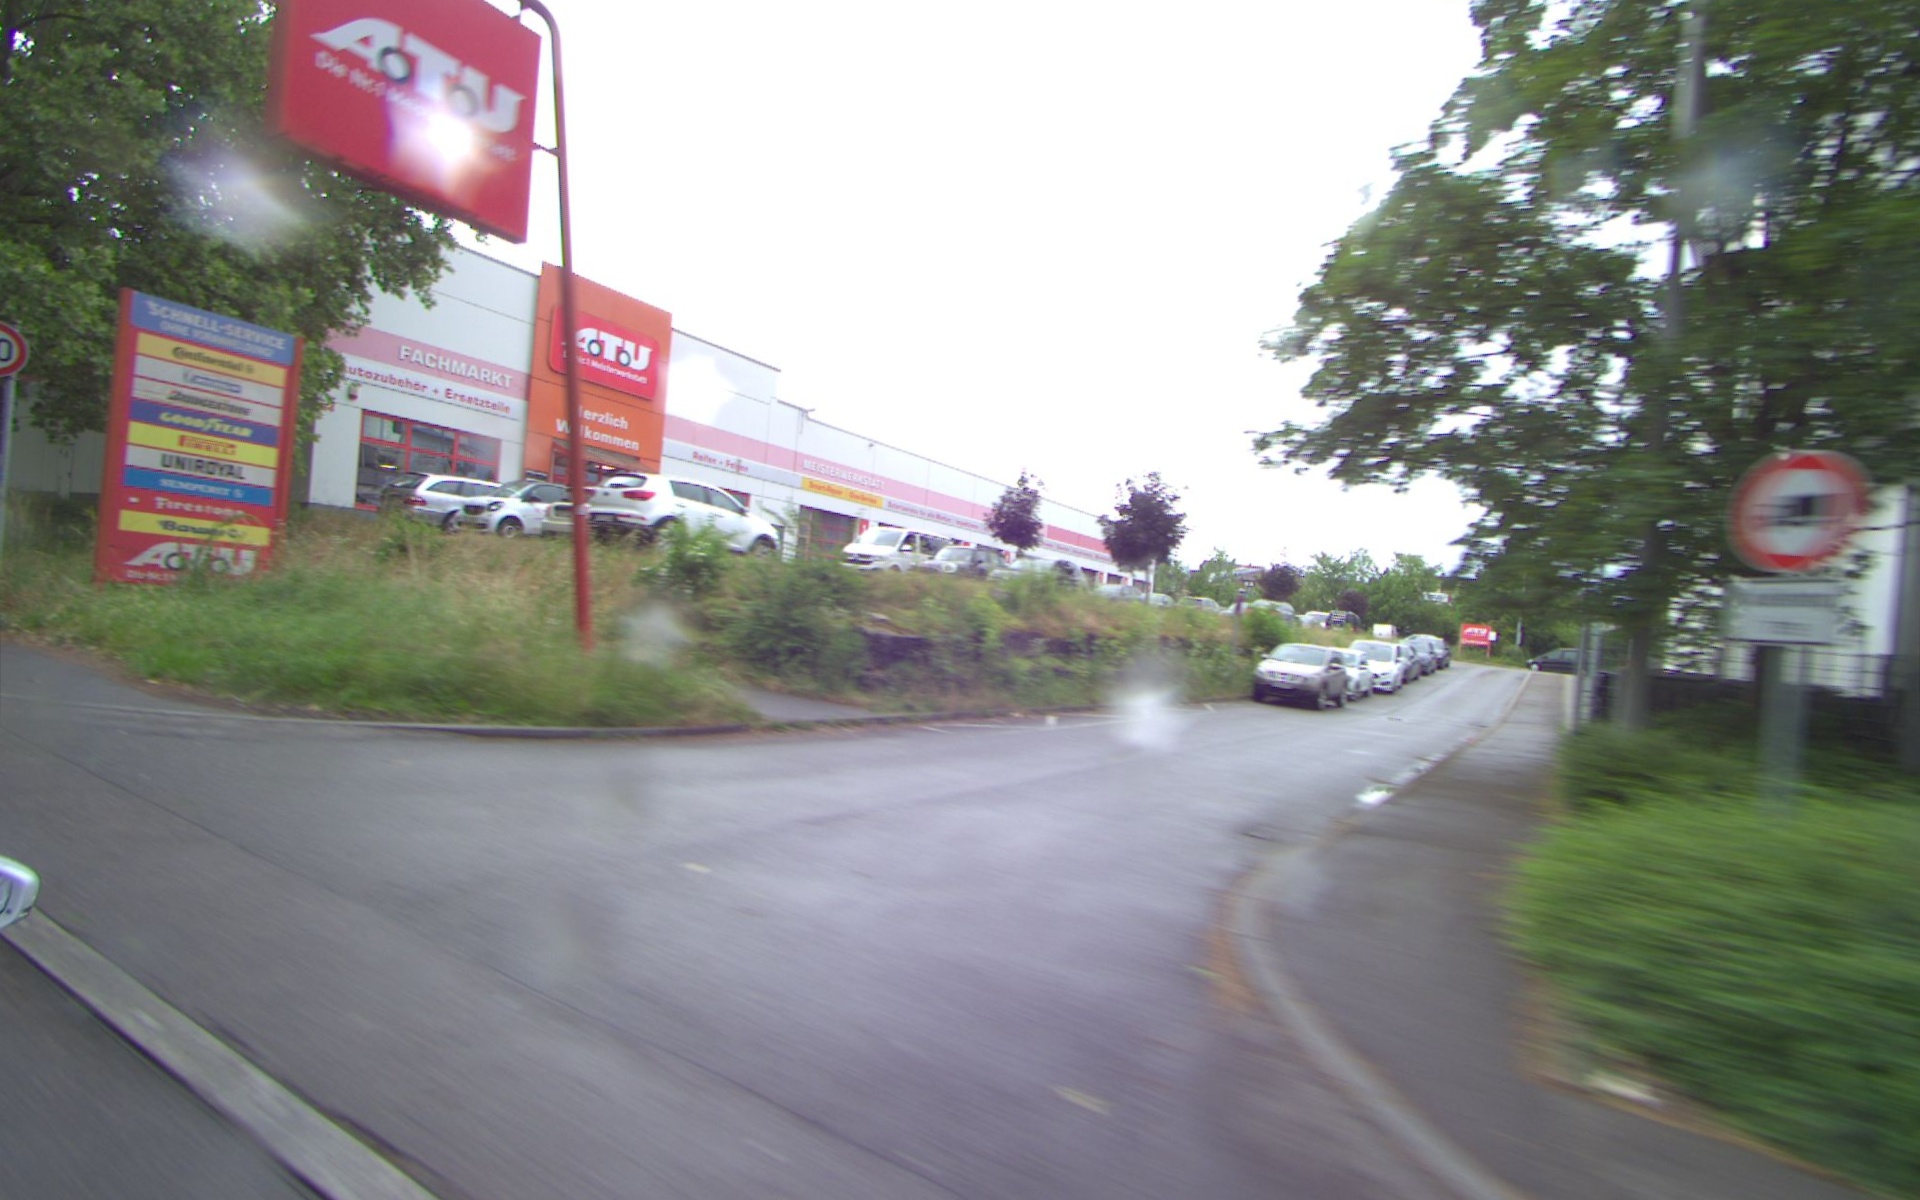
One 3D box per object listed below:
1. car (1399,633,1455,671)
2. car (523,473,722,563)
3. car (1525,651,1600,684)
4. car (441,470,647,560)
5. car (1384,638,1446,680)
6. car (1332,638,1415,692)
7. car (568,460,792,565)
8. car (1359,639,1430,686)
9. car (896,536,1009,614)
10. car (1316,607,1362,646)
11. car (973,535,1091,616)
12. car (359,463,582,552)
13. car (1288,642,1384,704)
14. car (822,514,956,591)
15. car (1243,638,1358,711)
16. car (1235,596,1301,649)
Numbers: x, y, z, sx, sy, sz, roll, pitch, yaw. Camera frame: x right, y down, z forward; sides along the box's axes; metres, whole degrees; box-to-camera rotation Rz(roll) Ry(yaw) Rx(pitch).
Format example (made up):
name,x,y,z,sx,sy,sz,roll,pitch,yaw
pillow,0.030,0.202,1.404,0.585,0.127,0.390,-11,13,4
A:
name,x,y,z,sx,sy,sz,roll,pitch,yaw
car,23.353,2.636,50.231,1.858,1.565,4.326,7,0,32
car,-7.516,-1.803,22.745,1.803,1.308,3.924,6,-2,33
car,41.408,4.664,69.197,4.241,1.682,1.995,7,0,33
car,-9.738,-1.958,23.846,1.854,1.485,4.104,7,0,33
car,20.500,2.670,45.233,1.858,1.565,4.326,7,0,32
car,14.653,2.311,35.527,1.858,1.565,4.326,7,0,32
car,-5.567,-1.719,20.490,1.872,1.392,4.106,6,-2,33
car,17.555,2.557,40.544,1.858,1.565,4.326,7,0,32
car,-0.146,-0.705,30.627,1.632,1.802,3.999,5,-3,28
car,22.000,1.566,58.292,1.882,1.802,3.999,5,-3,28
car,2.192,-0.672,29.563,1.882,1.802,3.999,5,-3,28
car,-11.850,-2.202,24.675,1.771,1.350,4.617,7,-1,31
car,11.910,2.228,31.664,1.858,1.567,4.322,7,2,32
car,-2.163,-1.442,32.115,1.882,1.805,4.778,7,0,28
car,9.137,1.979,26.751,1.801,1.565,4.326,7,0,32
car,13.233,1.002,43.130,1.882,1.802,3.999,5,-3,28
